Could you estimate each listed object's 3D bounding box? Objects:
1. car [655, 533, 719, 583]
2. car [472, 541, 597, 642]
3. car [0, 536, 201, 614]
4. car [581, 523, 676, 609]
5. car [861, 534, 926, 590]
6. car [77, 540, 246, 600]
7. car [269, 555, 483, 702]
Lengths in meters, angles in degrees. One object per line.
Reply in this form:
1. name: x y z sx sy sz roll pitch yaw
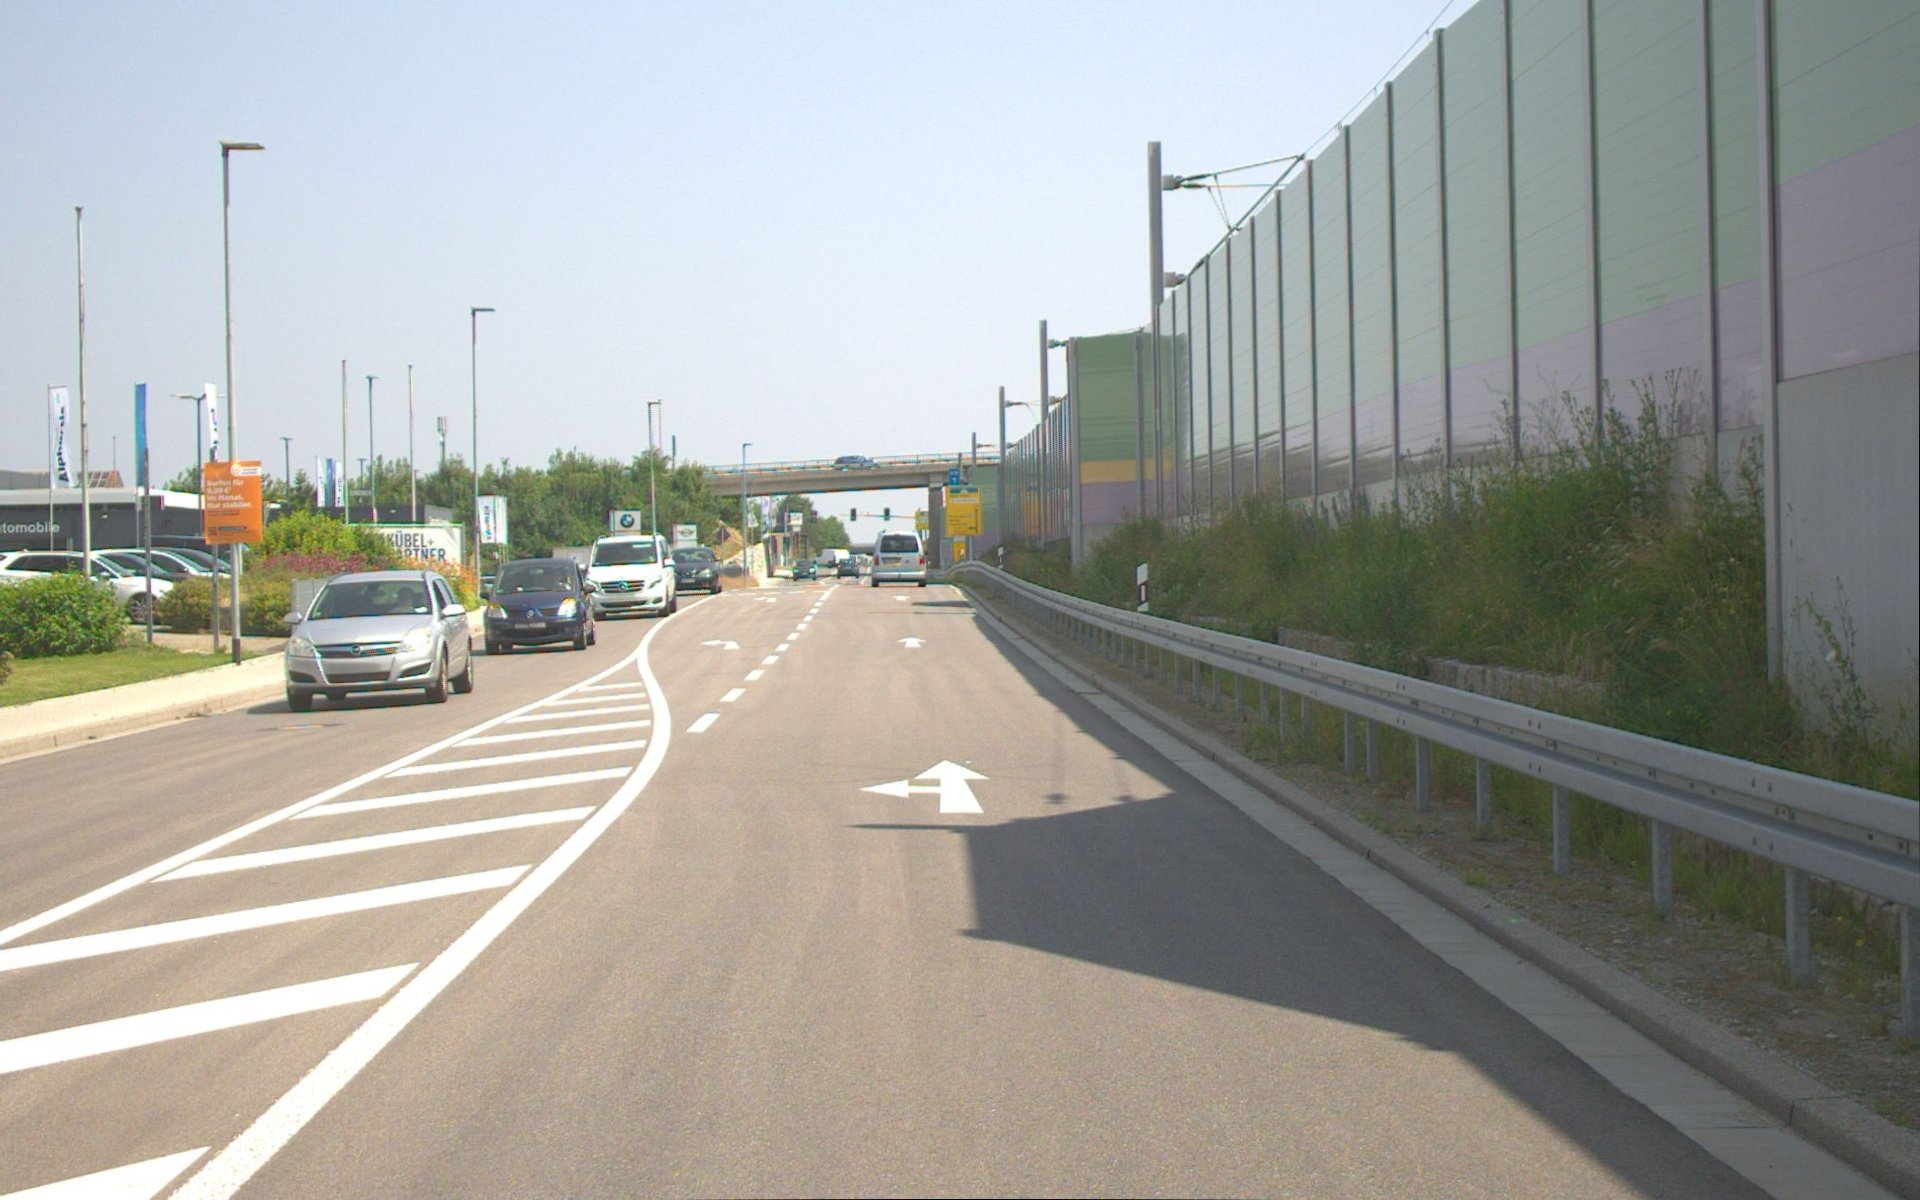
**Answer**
1. car: -8.135 -1.271 102.662 1.670 1.418 4.000 -2 1 -2
2. car: -7.266 -0.181 59.016 1.668 1.594 3.973 -3 1 -1
3. car: -17.643 -0.515 69.494 4.223 1.451 1.764 2 1 -3
4. car: -7.686 -0.792 80.124 1.993 1.867 5.170 -2 1 -4
5. car: -2.140 -1.246 111.823 1.993 1.751 4.000 -1 1 1
6. car: -18.205 -0.692 78.438 3.509 1.250 1.505 2 1 -3
7. car: -6.509 0.272 38.682 1.764 1.461 4.260 -3 1 -2
